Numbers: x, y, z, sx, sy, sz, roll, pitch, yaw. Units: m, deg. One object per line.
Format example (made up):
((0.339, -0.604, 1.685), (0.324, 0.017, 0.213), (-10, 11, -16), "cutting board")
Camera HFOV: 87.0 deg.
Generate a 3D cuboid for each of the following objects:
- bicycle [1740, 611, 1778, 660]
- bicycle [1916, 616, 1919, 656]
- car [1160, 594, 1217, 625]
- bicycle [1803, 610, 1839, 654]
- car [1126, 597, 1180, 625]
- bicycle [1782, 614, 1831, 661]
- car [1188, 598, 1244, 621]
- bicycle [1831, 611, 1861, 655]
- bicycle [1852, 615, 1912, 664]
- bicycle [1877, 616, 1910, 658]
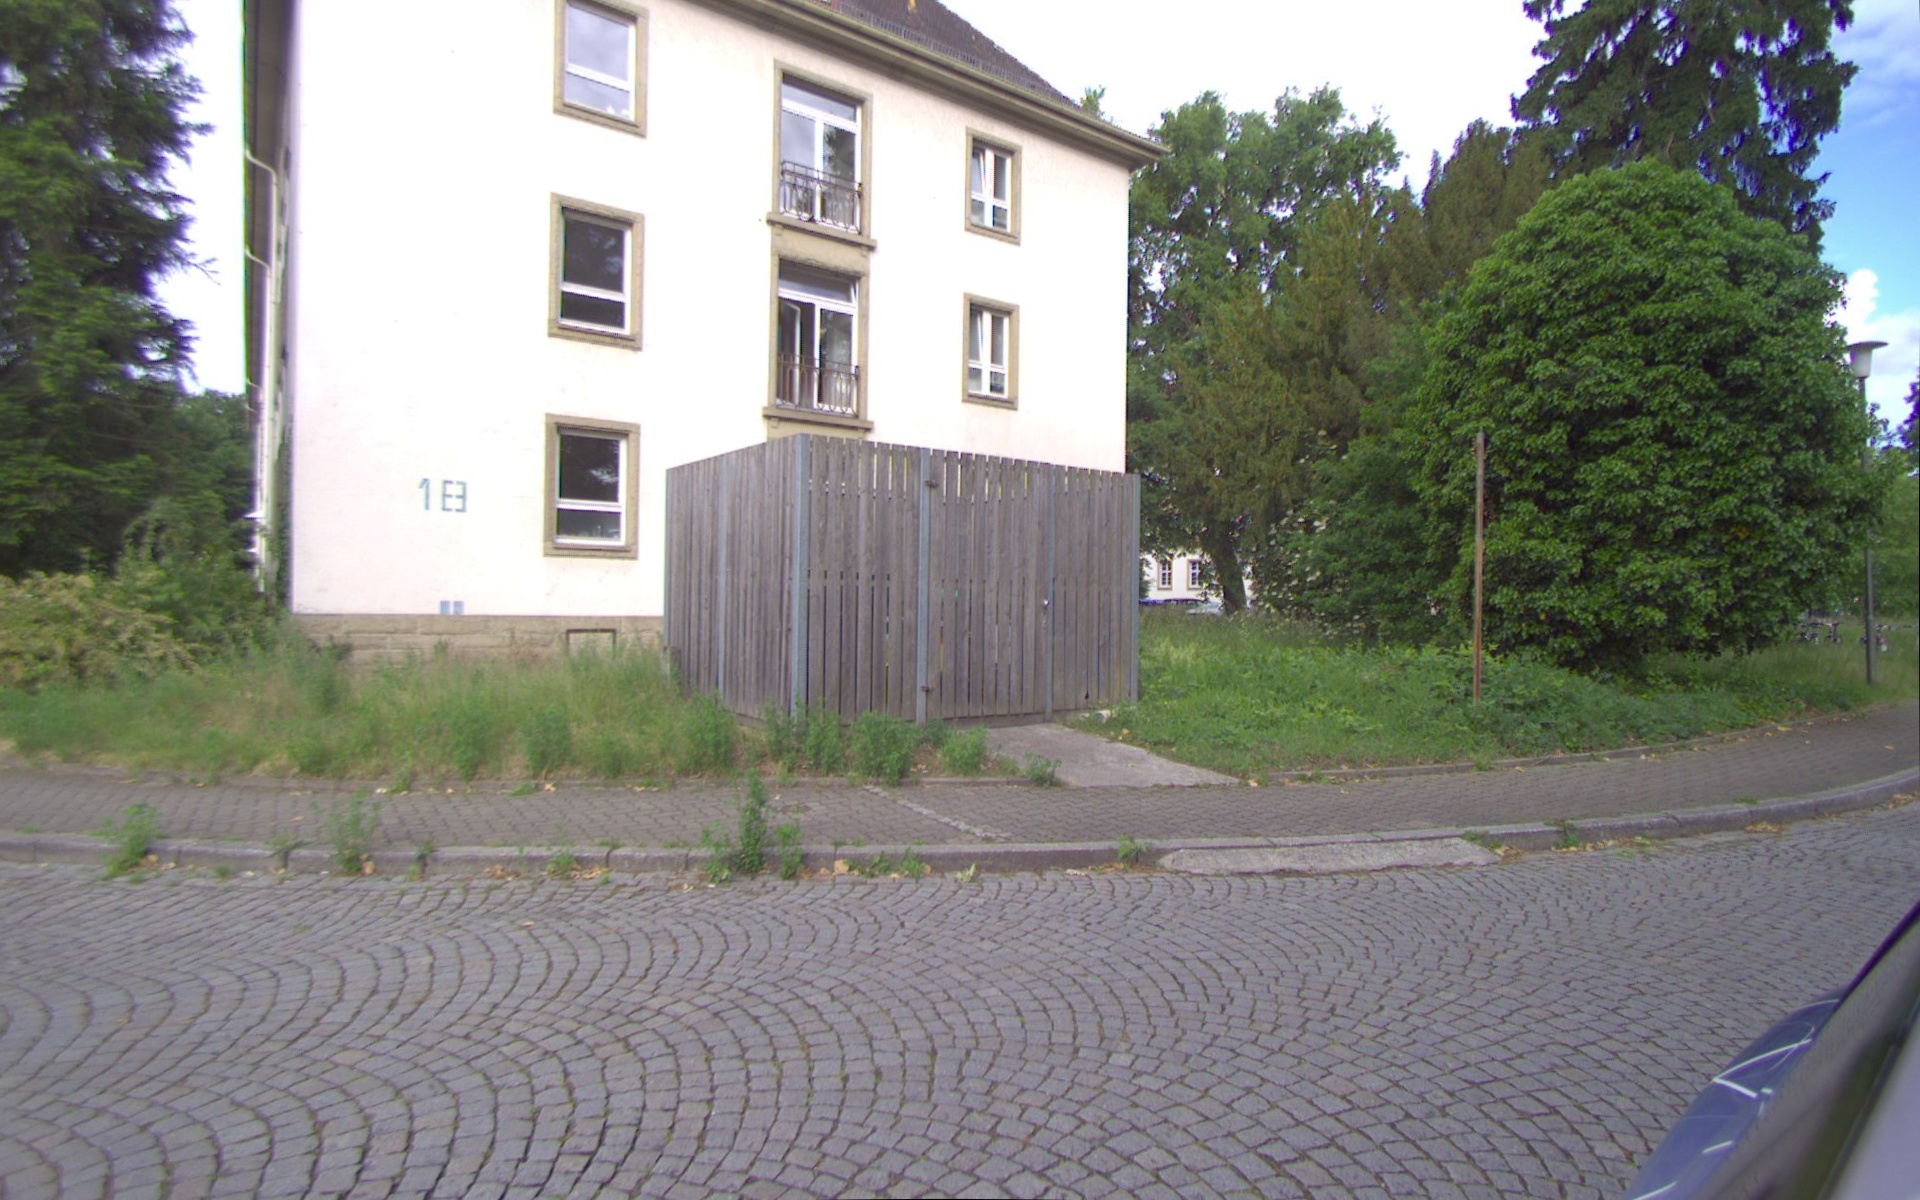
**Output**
((20.435, 0.889, 25.865), (1.725, 1.186, 0.550), (1, 0, -44), "bicycle")
((24.878, 0.950, 25.851), (0.475, 1.020, 1.645), (0, 1, 37), "bicycle")
((13.032, 0.521, 57.700), (3.188, 1.682, 1.439), (1, 0, -36), "car")
((23.218, 0.852, 27.318), (0.474, 1.126, 1.745), (0, 0, 32), "bicycle")
((11.564, 0.656, 60.650), (3.188, 1.585, 1.384), (1, 0, -36), "car")
((20.568, 0.892, 24.615), (0.546, 1.078, 1.737), (0, 0, 28), "bicycle")
((14.080, 0.536, 55.652), (3.188, 1.233, 1.297), (0, 0, -36), "car")
((23.494, 0.852, 26.857), (0.475, 1.126, 1.741), (0, 0, 37), "bicycle")
((21.701, 0.903, 23.840), (0.612, 1.078, 1.807), (0, 0, 28), "bicycle")
((24.364, 0.948, 26.432), (0.475, 1.020, 1.645), (0, 1, 37), "bicycle")
